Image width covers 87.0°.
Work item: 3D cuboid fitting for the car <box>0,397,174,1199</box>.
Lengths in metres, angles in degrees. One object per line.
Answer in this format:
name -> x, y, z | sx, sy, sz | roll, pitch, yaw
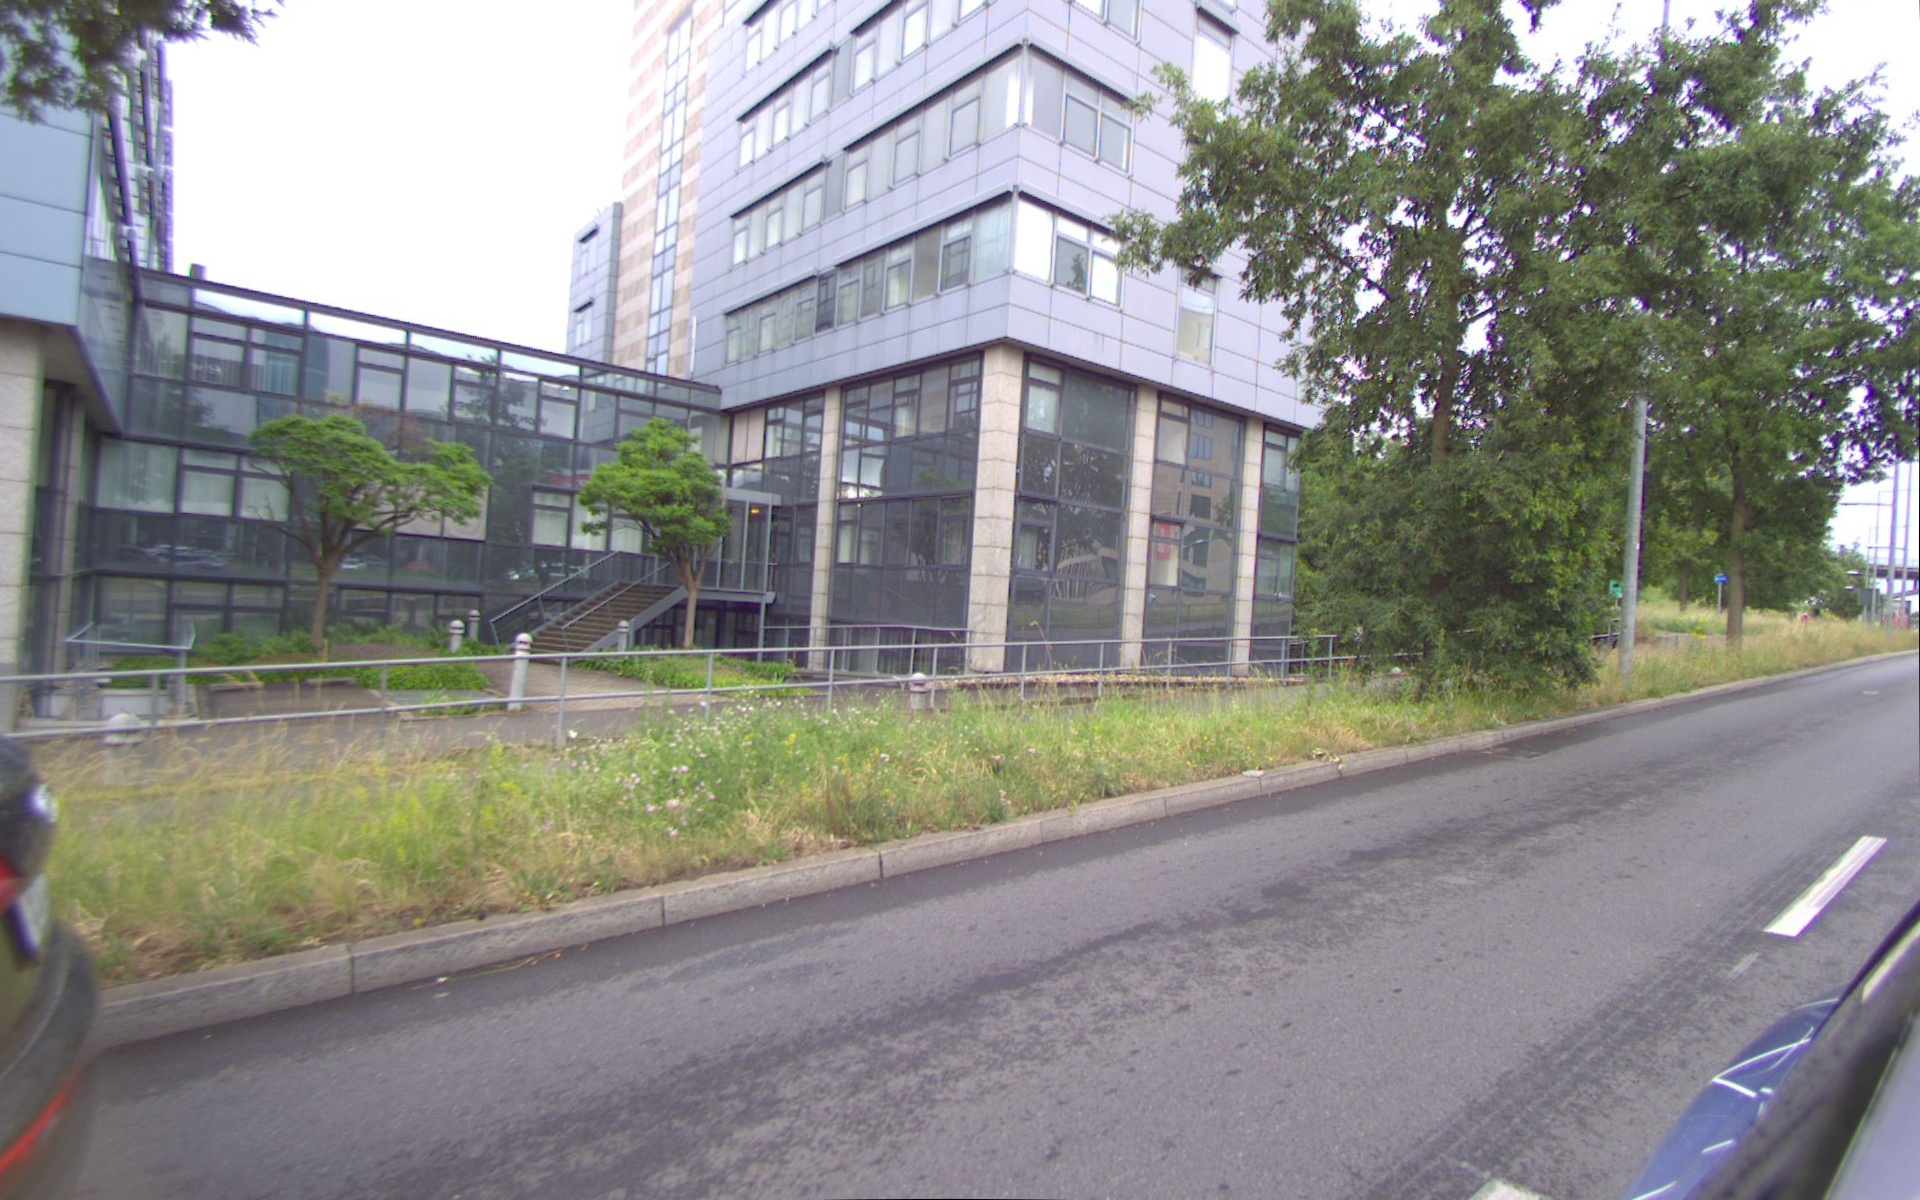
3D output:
car -> -3.339, 0.532, 0.648 | 4.392, 1.633, 1.821 | 0, 1, -41
